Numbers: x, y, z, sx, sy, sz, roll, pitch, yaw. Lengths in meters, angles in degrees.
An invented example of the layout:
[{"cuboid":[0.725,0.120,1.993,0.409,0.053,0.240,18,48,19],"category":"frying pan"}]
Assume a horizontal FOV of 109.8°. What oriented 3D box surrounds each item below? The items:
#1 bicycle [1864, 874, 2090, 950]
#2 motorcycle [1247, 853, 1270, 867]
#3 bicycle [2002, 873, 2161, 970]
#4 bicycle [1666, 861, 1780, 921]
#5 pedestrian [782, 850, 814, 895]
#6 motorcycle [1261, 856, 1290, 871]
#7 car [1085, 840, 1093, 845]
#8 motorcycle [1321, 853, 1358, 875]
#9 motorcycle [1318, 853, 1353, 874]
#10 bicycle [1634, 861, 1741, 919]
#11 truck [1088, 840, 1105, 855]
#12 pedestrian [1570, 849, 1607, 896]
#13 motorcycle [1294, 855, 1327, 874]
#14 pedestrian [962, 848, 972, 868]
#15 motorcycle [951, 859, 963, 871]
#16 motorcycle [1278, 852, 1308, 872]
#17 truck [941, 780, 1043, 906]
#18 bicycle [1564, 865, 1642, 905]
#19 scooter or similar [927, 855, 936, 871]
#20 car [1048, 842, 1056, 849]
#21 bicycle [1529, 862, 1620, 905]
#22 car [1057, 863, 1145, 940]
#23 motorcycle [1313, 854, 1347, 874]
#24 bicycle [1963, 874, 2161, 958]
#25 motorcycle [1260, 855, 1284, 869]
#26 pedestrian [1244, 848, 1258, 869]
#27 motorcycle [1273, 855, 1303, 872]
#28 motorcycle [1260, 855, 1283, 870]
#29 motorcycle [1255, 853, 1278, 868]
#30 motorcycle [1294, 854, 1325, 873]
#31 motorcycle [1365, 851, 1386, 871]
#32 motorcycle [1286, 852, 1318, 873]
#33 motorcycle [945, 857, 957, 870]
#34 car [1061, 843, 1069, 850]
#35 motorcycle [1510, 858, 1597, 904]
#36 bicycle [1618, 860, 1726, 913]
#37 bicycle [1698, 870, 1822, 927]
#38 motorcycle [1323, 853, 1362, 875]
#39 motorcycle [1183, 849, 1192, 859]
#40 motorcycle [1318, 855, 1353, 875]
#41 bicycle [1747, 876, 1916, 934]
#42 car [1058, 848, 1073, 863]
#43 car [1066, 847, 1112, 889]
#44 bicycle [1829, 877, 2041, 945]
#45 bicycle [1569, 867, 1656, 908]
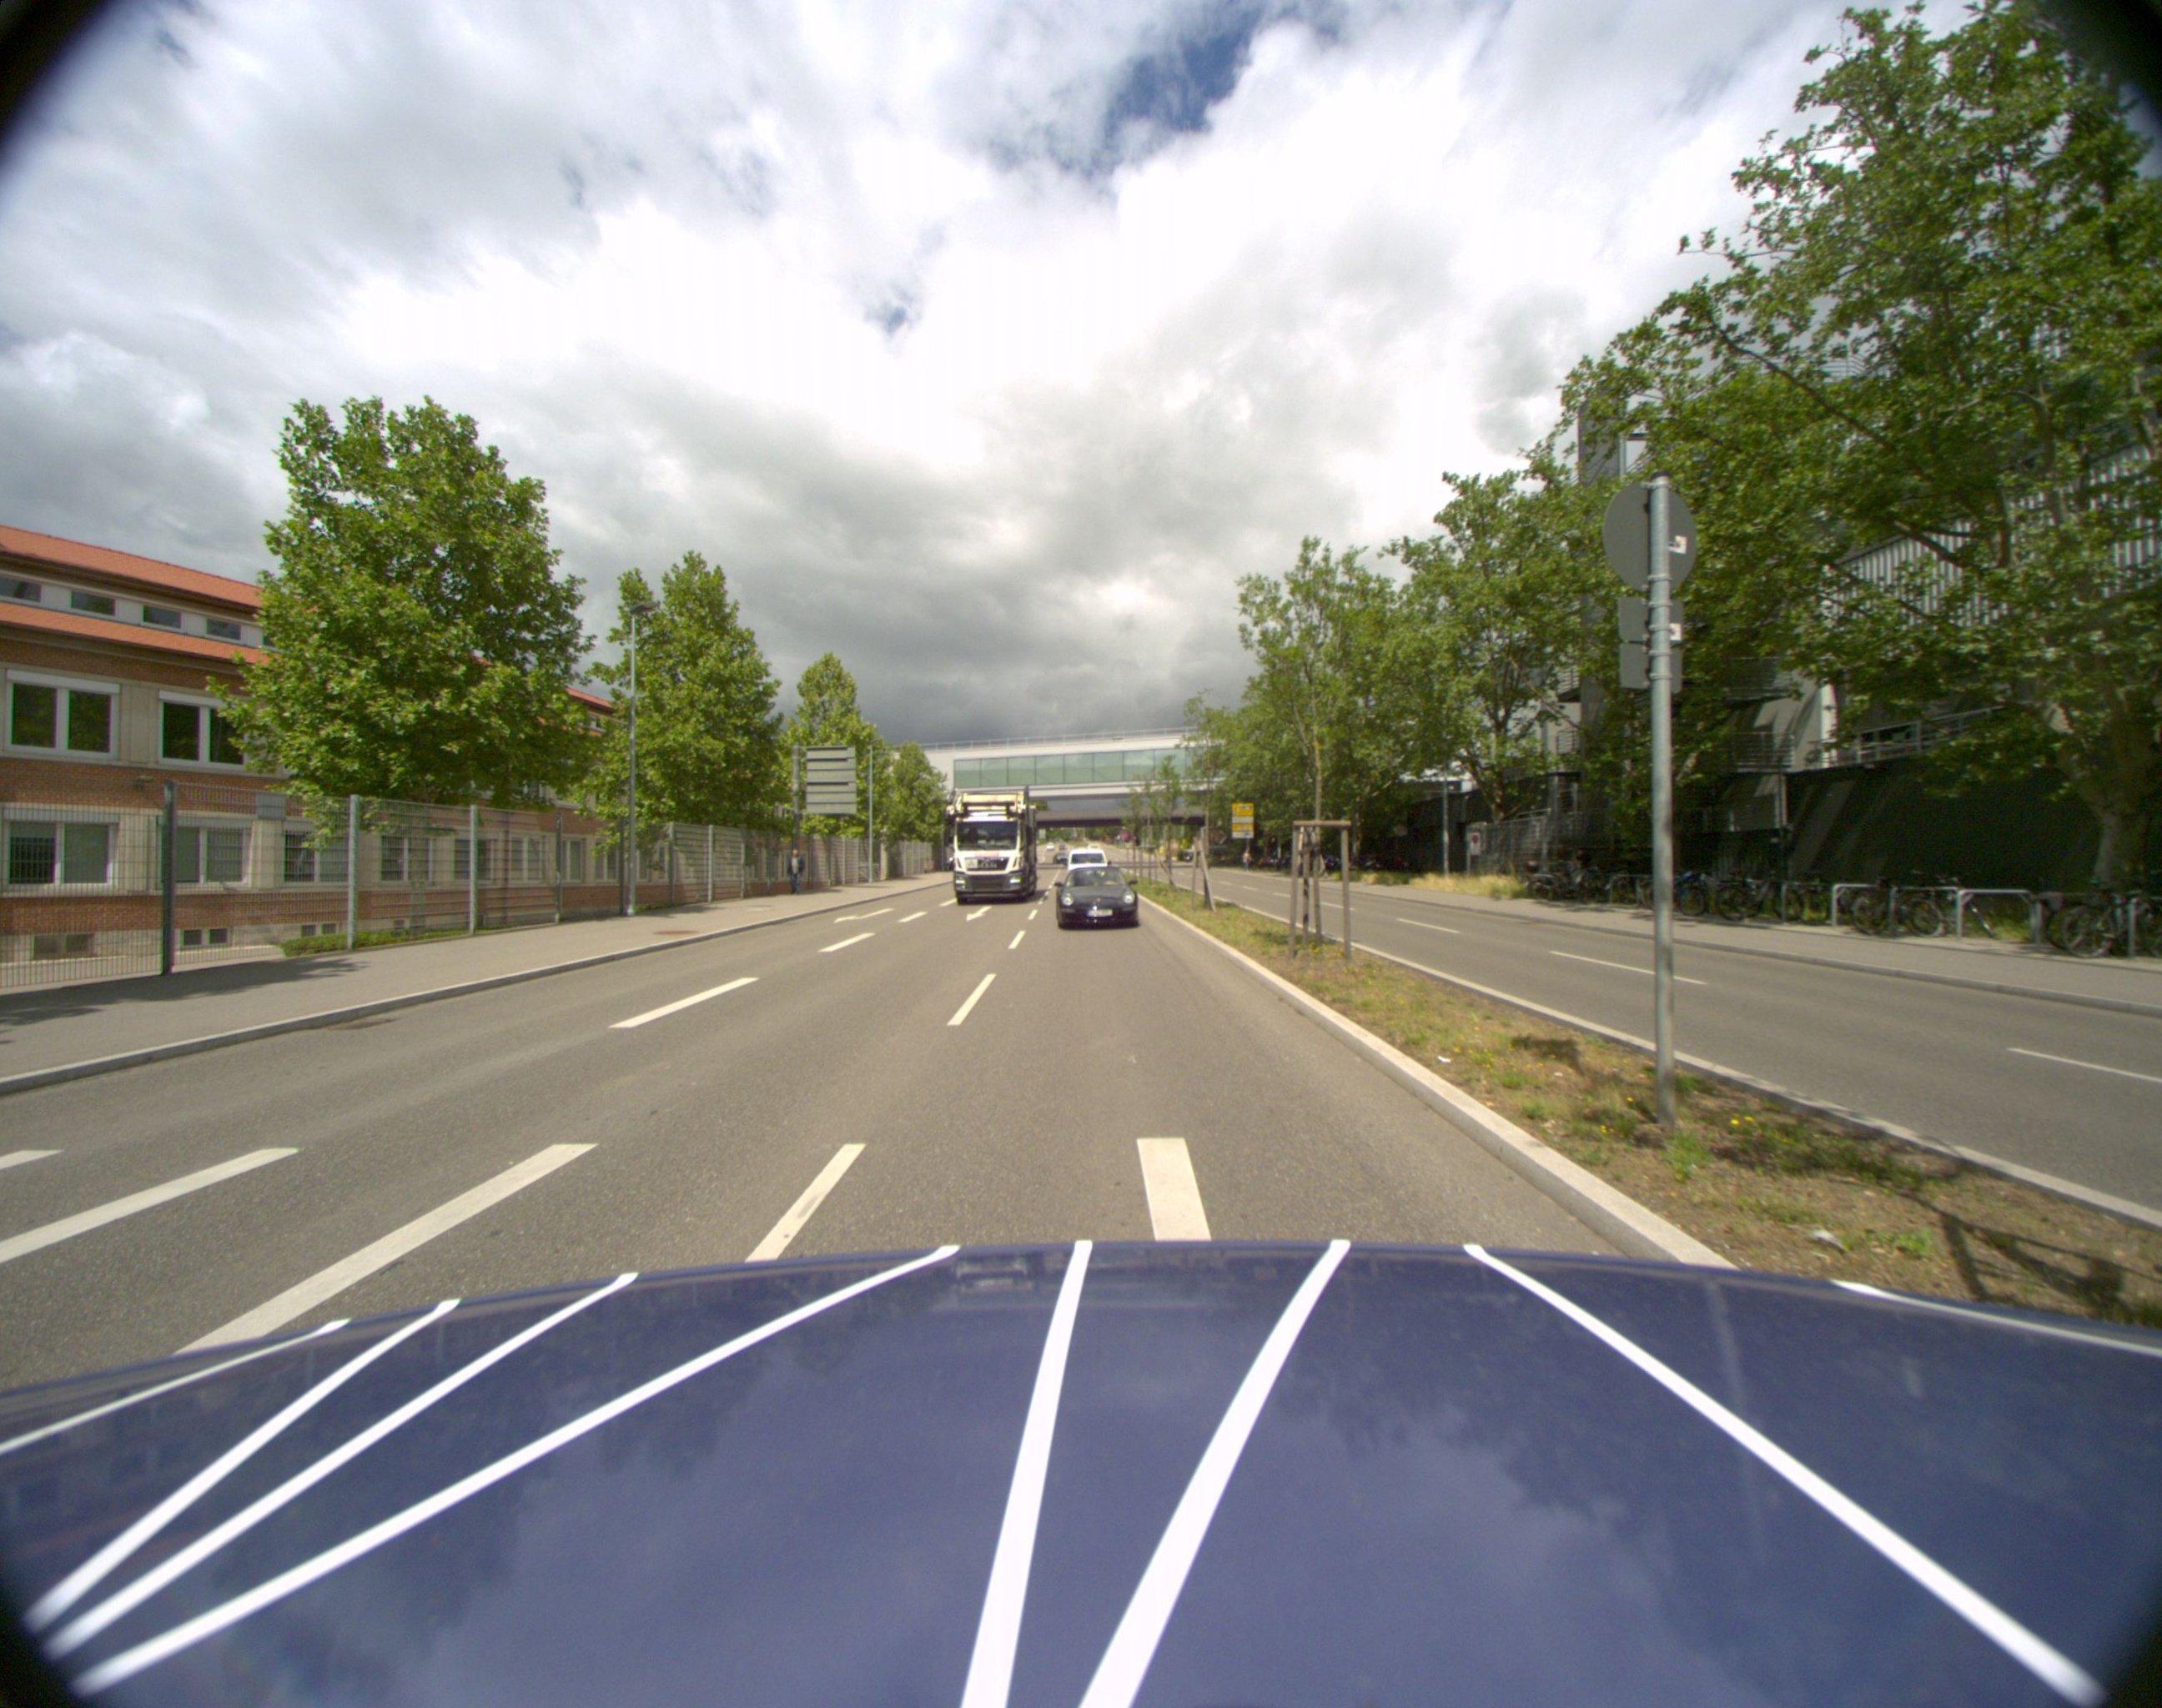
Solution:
[{"cuboid":[14.563,0.944,12.411,2.569,1.151,0.644,-1,1,10],"category":"bicycle"},{"cuboid":[15.019,0.514,64.394,1.745,1.164,0.777,-3,-1,8],"category":"motorcycle"},{"cuboid":[14.223,0.908,10.439,2.410,1.250,0.556,-1,1,2],"category":"bicycle"},{"cuboid":[14.384,0.813,17.055,1.923,1.275,0.806,-1,1,-2],"category":"bicycle"},{"cuboid":[-11.266,0.737,30.283,0.879,1.733,0.940,1,1,-1],"category":"pedestrian"},{"cuboid":[14.696,0.719,57.467,1.939,1.109,0.920,1,1,-12],"category":"motorcycle"},{"cuboid":[2.256,-3.080,207.291,1.998,1.346,4.000,0,1,1],"category":"car"},{"cuboid":[15.111,0.598,44.442,1.881,1.179,0.730,-3,0,8],"category":"motorcycle"},{"cuboid":[15.635,0.601,46.627,1.882,1.202,0.655,-3,-1,3],"category":"motorcycle"},{"cuboid":[14.352,0.842,18.013,1.923,1.275,0.806,-1,1,-2],"category":"bicycle"},{"cuboid":[2.780,-1.125,138.301,2.486,2.735,6.456,-1,0,-3],"category":"truck"},{"cuboid":[17.056,0.602,25.546,0.755,1.543,0.821,-1,1,10],"category":"pedestrian"},{"cuboid":[14.855,0.677,49.221,1.881,1.172,0.815,-3,-1,9],"category":"motorcycle"},{"cuboid":[-10.945,0.388,73.099,0.791,1.877,1.097,0,1,-1],"category":"pedestrian"},{"cuboid":[-11.755,1.022,72.125,0.709,1.058,2.510,2,1,-1],"category":"motorcycle"},{"cuboid":[15.125,0.571,54.119,1.934,1.283,0.894,-3,-1,20],"category":"motorcycle"},{"cuboid":[-3.084,-0.366,29.360,2.787,3.981,10.085,-1,0,-1],"category":"truck"},{"cuboid":[14.754,0.875,21.498,1.929,1.068,0.422,-1,1,-2],"category":"bicycle"},{"cuboid":[-12.177,0.755,61.792,0.492,1.287,1.336,0,1,-1],"category":"scooter or similar"},{"cuboid":[-8.044,-2.279,209.061,1.999,2.002,3.999,-1,0,-1],"category":"car"},{"cuboid":[14.424,0.846,22.243,2.139,1.173,0.806,-1,1,-2],"category":"bicycle"},{"cuboid":[0.355,0.950,16.727,1.675,1.390,3.999,-1,0,-1],"category":"car"},{"cuboid":[15.655,0.625,47.766,1.882,1.172,0.698,-3,-1,3],"category":"motorcycle"},{"cuboid":[14.998,0.916,11.299,2.569,1.151,0.726,-1,1,10],"category":"bicycle"},{"cuboid":[14.991,0.659,59.629,1.595,1.027,0.776,-3,-1,1],"category":"motorcycle"},{"cuboid":[12.914,0.330,57.721,0.769,1.603,0.813,-3,1,-1],"category":"pedestrian"},{"cuboid":[15.180,0.681,55.773,1.933,1.109,0.923,-3,-1,27],"category":"motorcycle"},{"cuboid":[15.268,0.652,61.002,1.595,1.116,0.776,-3,-1,1],"category":"motorcycle"},{"cuboid":[15.232,0.519,62.335,1.596,1.116,0.775,-3,-1,-9],"category":"motorcycle"},{"cuboid":[15.148,0.628,50.489,1.880,1.172,0.816,-3,-1,15],"category":"motorcycle"},{"cuboid":[18.693,0.455,48.316,0.654,1.202,1.984,-3,-1,4],"category":"motorcycle"},{"cuboid":[15.105,0.583,51.935,1.934,1.336,0.866,-3,-1,20],"category":"motorcycle"},{"cuboid":[-11.807,0.858,68.992,0.670,1.058,2.246,2,1,-1],"category":"motorcycle"},{"cuboid":[-4.505,-2.040,213.867,1.999,2.002,3.999,-1,0,-1],"category":"car"},{"cuboid":[14.265,0.803,22.976,2.139,1.301,0.806,-1,1,-2],"category":"motorcycle"},{"cuboid":[14.913,0.807,19.205,2.139,1.275,0.806,-1,1,-2],"category":"bicycle"},{"cuboid":[14.329,0.919,16.066,1.923,1.116,0.806,-1,1,-2],"category":"bicycle"},{"cuboid":[14.610,0.563,42.502,1.881,1.166,0.746,-3,-1,9],"category":"motorcycle"},{"cuboid":[12.824,-0.036,91.764,0.641,1.191,2.257,-3,1,-1],"category":"motorcycle"},{"cuboid":[15.264,0.658,45.579,1.880,1.078,0.795,-3,-1,15],"category":"motorcycle"},{"cuboid":[14.865,0.981,15.069,2.844,1.000,0.850,-1,1,-9],"category":"bicycle"},{"cuboid":[-2.231,0.211,106.115,1.999,2.002,3.999,-1,0,-2],"category":"car"},{"cuboid":[0.315,0.607,34.134,1.929,1.728,3.999,-1,0,-1],"category":"car"},{"cuboid":[14.750,0.960,13.198,2.569,1.089,0.696,0,1,10],"category":"bicycle"},{"cuboid":[14.702,0.911,21.029,2.086,1.056,0.497,-1,1,-2],"category":"bicycle"}]
